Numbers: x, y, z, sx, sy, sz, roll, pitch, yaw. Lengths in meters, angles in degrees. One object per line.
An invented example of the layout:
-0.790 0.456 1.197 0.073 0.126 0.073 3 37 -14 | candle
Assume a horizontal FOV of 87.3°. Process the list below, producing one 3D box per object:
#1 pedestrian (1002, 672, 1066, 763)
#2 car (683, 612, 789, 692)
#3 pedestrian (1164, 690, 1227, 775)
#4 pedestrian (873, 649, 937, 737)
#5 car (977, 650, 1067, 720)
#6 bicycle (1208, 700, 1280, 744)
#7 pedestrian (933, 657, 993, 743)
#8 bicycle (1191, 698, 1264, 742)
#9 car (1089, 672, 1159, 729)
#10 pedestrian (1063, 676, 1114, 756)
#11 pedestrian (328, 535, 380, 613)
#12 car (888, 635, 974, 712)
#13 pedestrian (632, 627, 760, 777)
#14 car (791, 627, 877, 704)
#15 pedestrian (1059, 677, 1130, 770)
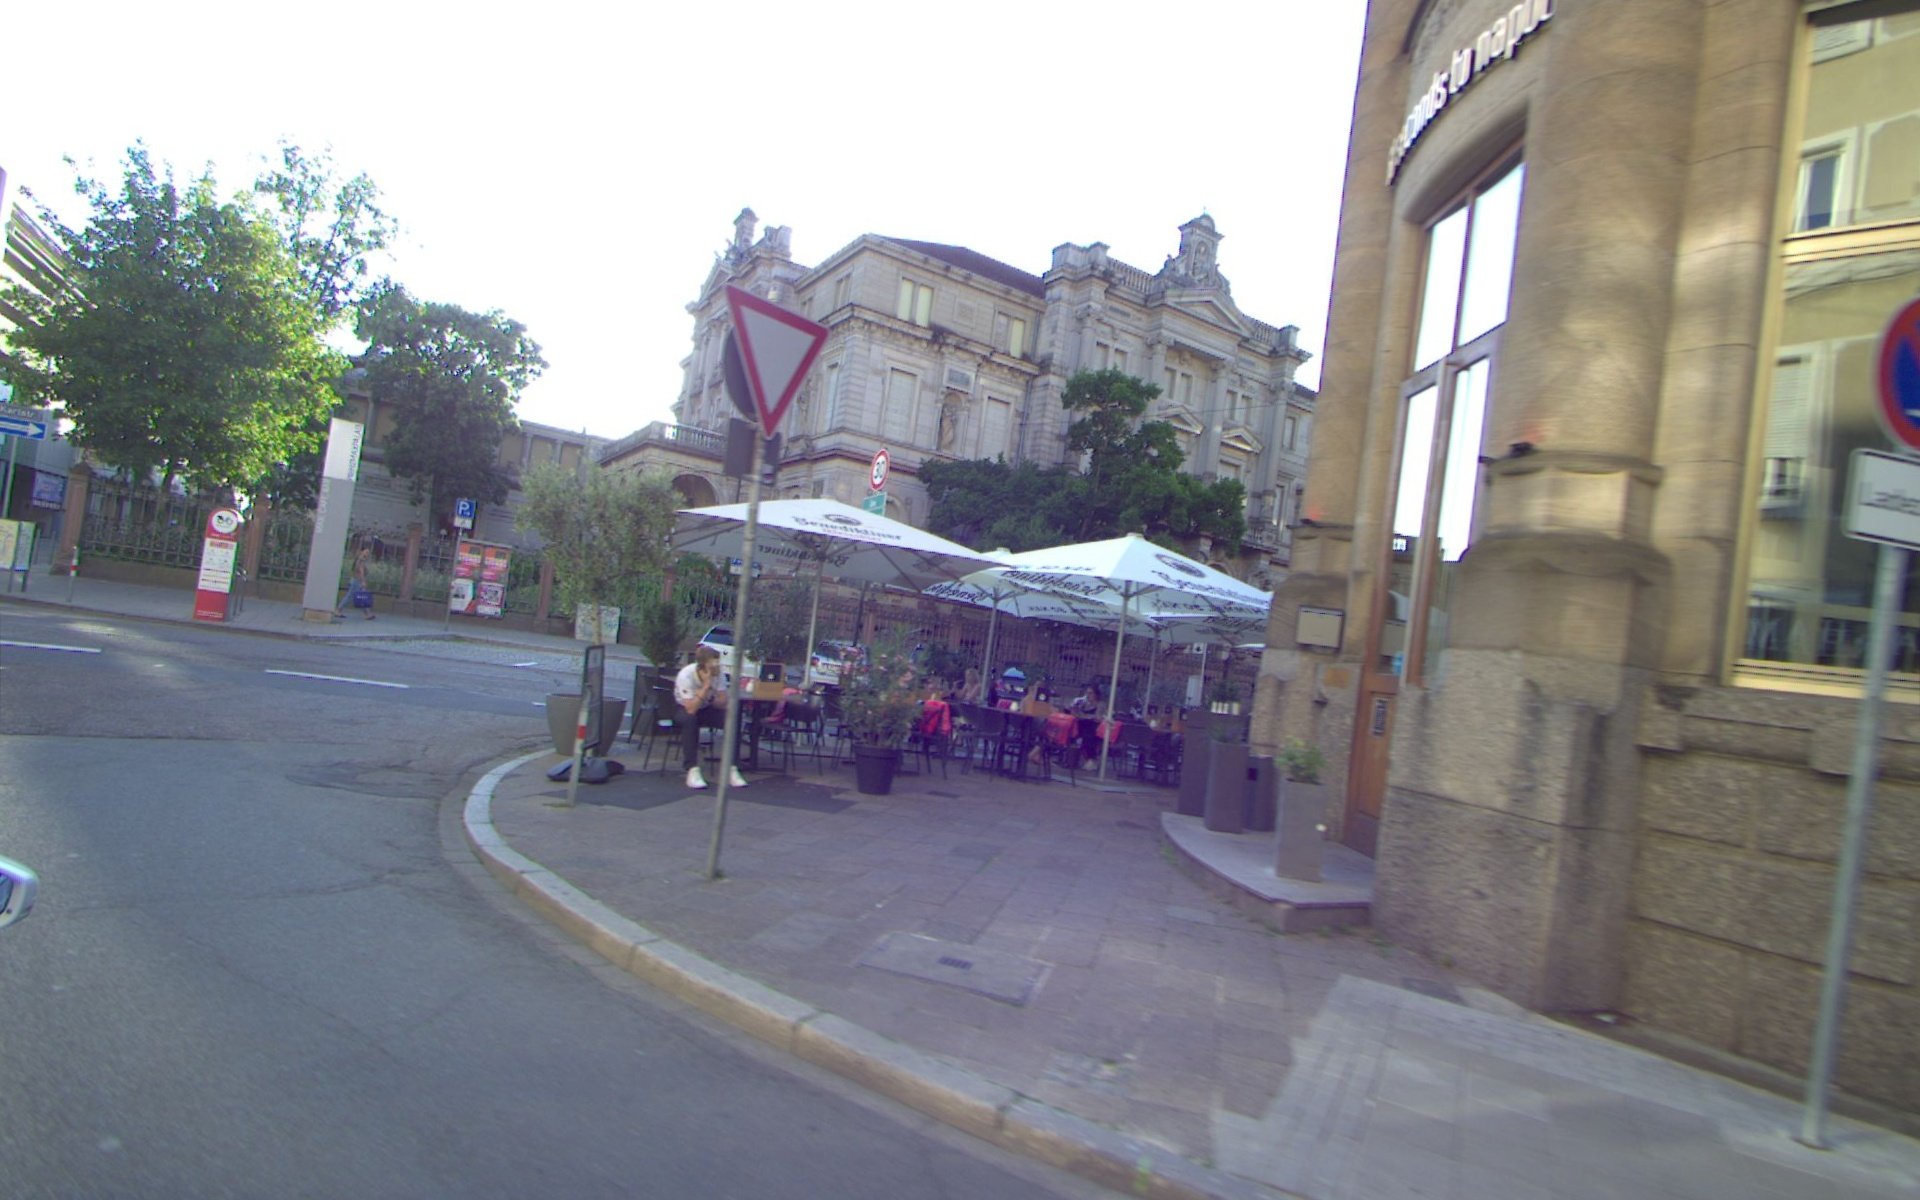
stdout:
1.081 1.712 14.721 0.567 1.202 0.597 9 -2 -27 | pedestrian
-5.512 1.229 25.182 1.724 1.465 3.906 8 1 -2 | car
3.869 2.164 16.541 0.675 1.259 0.600 8 -2 -9 | pedestrian
-0.842 1.433 15.518 0.590 1.259 0.687 8 -2 20 | pedestrian
1.855 2.446 28.698 1.722 1.625 4.008 7 -4 14 | car
9.384 4.028 33.304 0.710 1.102 2.282 9 -4 -33 | bicycle
0.052 1.590 15.992 0.590 1.259 0.687 8 -2 20 | pedestrian
8.710 3.902 32.836 0.710 1.102 2.282 9 -4 -33 | bicycle
5.182 3.119 31.379 1.722 1.428 4.008 7 -4 14 | car
2.211 1.976 17.250 0.590 1.259 0.687 8 -2 20 | pedestrian
-14.166 -0.614 23.507 0.702 1.689 0.634 9 -1 -44 | pedestrian
-0.726 1.988 27.877 1.722 1.740 4.004 7 -2 6 | car
-2.372 0.911 9.040 0.809 1.202 0.606 7 -2 39 | pedestrian
-3.224 1.647 26.468 1.724 1.544 3.998 8 0 -2 | car
2.025 1.854 15.171 0.678 1.259 0.597 9 -2 -27 | pedestrian
